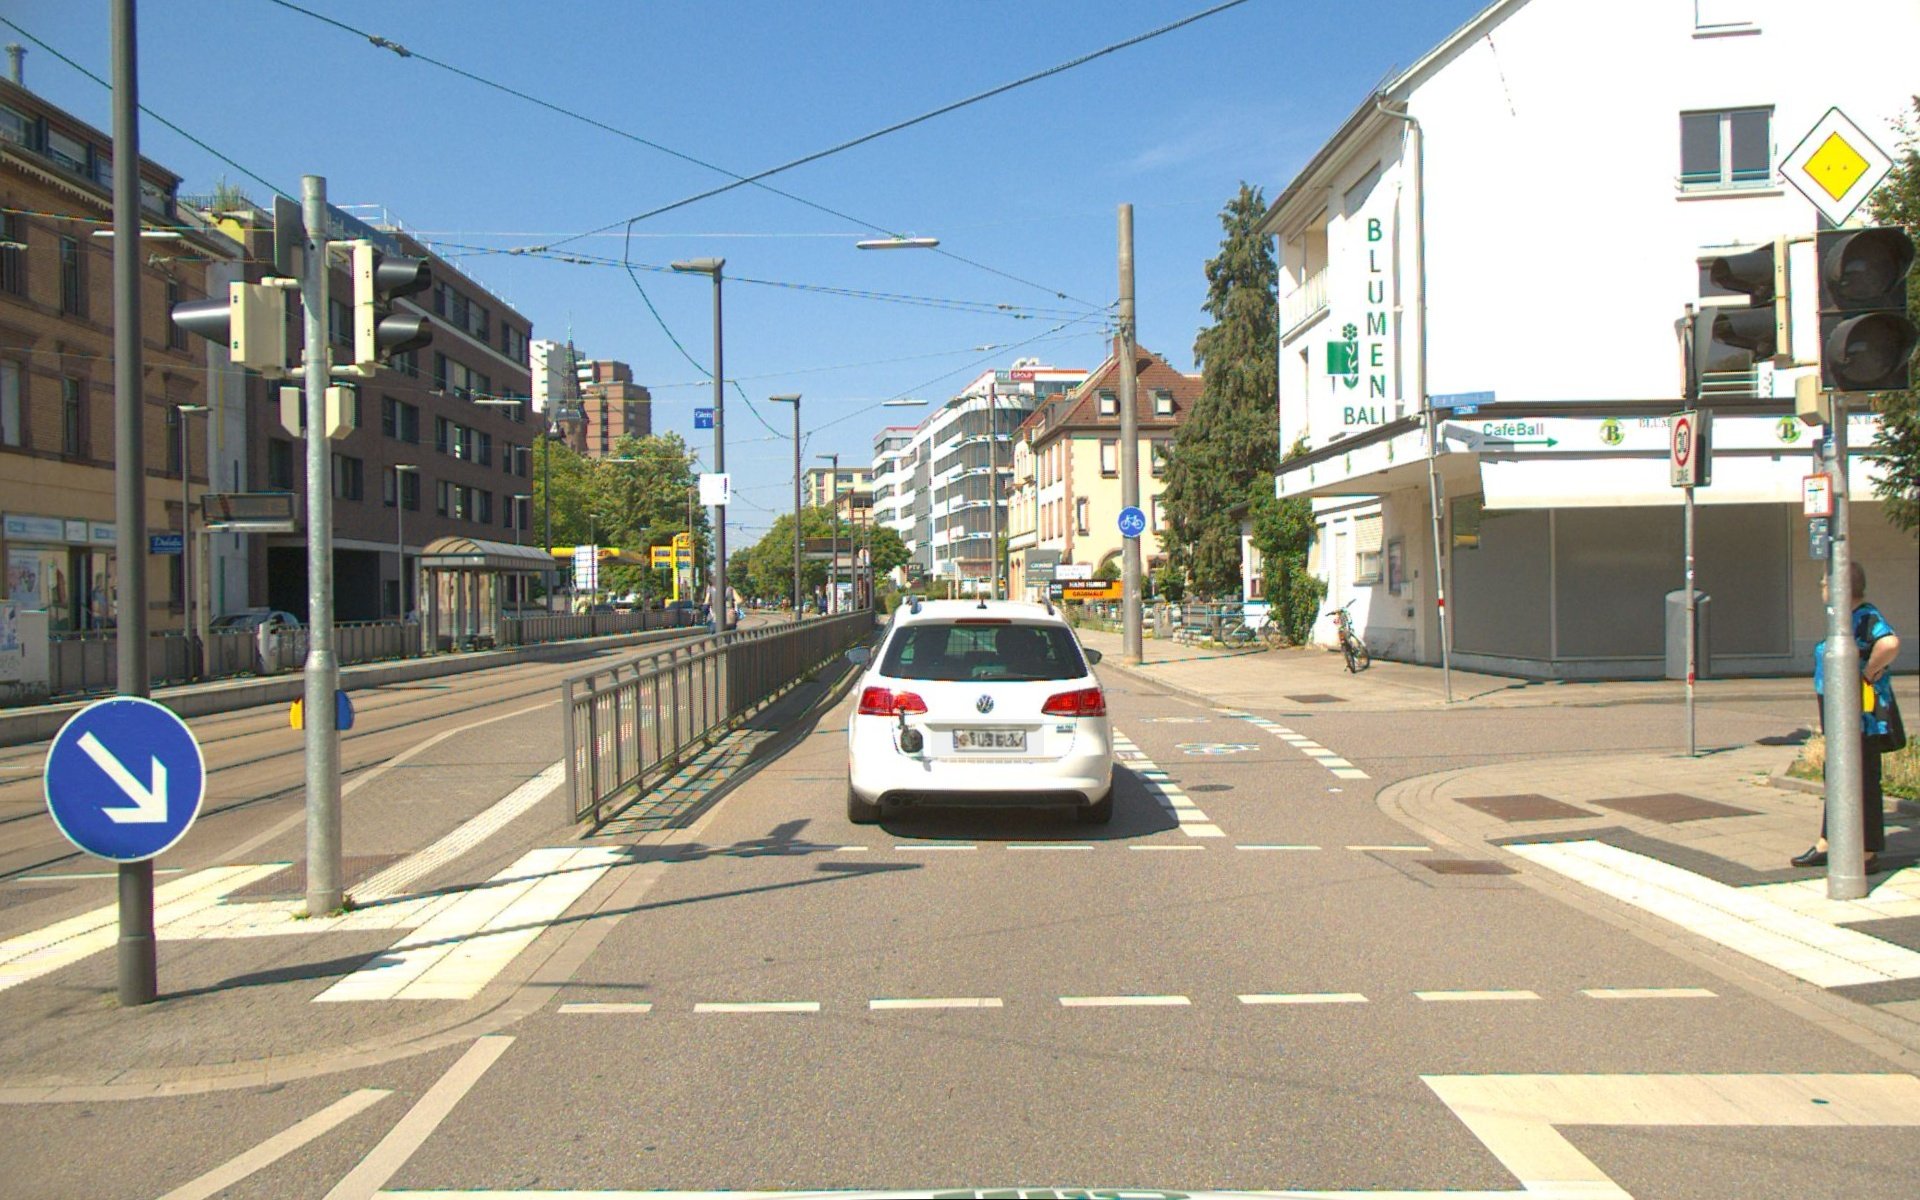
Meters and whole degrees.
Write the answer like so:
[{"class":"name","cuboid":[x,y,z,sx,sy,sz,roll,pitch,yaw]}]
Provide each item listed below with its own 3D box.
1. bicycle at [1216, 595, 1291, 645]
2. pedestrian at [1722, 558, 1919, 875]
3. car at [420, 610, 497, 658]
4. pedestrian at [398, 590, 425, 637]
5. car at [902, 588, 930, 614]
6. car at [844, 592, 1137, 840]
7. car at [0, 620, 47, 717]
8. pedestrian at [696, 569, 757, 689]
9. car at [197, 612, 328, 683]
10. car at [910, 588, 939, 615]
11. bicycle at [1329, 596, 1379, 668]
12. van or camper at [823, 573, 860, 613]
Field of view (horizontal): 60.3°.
[{"class":"bicycle","cuboid":[6.966,0.471,39.310,1.677,1.150,0.525,-1,0,0]},{"class":"pedestrian","cuboid":[4.478,0.566,8.482,0.762,1.536,0.859,-1,0,5]},{"class":"car","cuboid":[-17.036,1.124,56.351,1.541,1.484,3.933,-1,0,-3]},{"class":"pedestrian","cuboid":[-22.077,0.536,66.613,0.710,1.822,0.964,-2,0,-2]},{"class":"car","cuboid":[-3.607,0.109,135.148,1.955,2.049,3.995,-1,0,-6]},{"class":"car","cuboid":[0.151,0.686,11.742,1.717,1.442,3.852,1,0,-1]},{"class":"car","cuboid":[-15.631,1.093,25.213,1.542,1.484,3.810,-1,0,-5]},{"class":"pedestrian","cuboid":[-3.685,0.451,26.154,0.810,1.841,0.833,-1,0,-1]},{"class":"car","cuboid":[-16.072,1.061,38.296,1.541,1.484,3.736,-1,0,-3]},{"class":"car","cuboid":[-2.817,0.095,129.748,1.955,2.049,3.995,-1,0,-6]},{"class":"bicycle","cuboid":[6.666,0.523,28.047,0.710,1.159,2.197,-1,0,11]},{"class":"van or camper","cuboid":[-10.142,-0.598,140.808,2.887,3.235,6.605,-1,0,-6]}]
